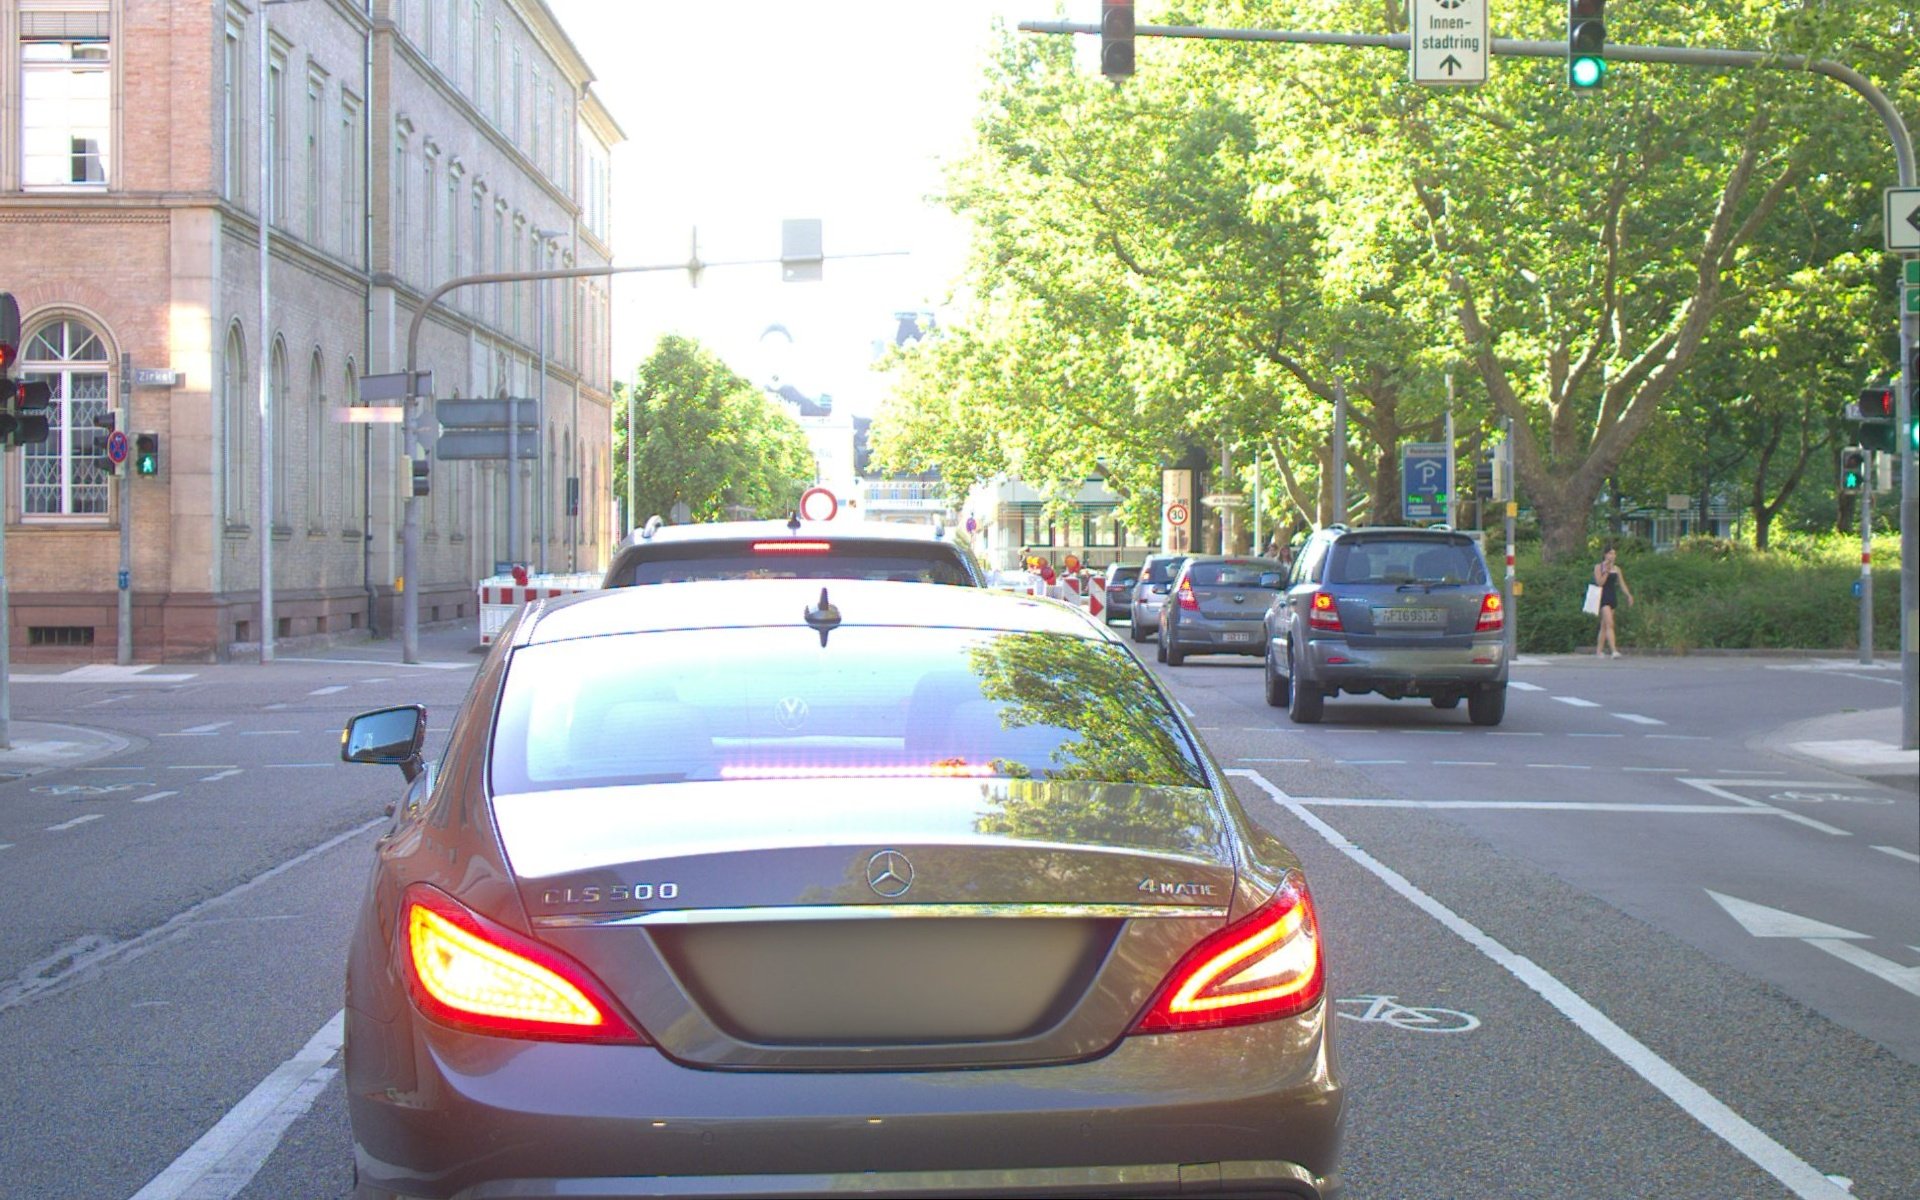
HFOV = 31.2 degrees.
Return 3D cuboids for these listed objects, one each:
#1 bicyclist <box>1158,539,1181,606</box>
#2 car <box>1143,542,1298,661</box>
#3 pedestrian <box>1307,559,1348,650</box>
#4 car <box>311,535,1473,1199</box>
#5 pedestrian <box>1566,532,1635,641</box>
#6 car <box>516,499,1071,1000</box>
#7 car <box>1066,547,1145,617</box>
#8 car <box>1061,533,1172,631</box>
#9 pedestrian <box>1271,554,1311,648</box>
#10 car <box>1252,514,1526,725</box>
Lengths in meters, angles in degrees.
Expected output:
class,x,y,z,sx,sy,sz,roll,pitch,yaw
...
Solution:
class,x,y,z,sx,sy,sz,roll,pitch,yaw
bicyclist,6.396,-0.847,105.038,0.594,2.032,0.566,1,0,-4
car,3.438,-0.011,46.003,1.704,1.514,4.000,1,1,-1
pedestrian,7.106,0.082,66.500,0.635,1.754,0.699,1,0,-4
car,-0.365,0.626,7.476,1.861,1.514,4.001,0,1,-8
pedestrian,9.184,-0.201,49.328,0.635,1.540,0.910,1,0,-14
car,-0.586,0.471,13.606,1.861,1.677,4.000,1,1,-1
car,3.313,-0.417,78.852,1.601,1.543,3.681,1,1,-1
car,2.732,-0.328,60.811,1.731,1.656,3.681,1,1,-1
pedestrian,6.403,0.019,66.503,0.635,1.791,0.699,1,0,-4
car,3.813,0.127,31.253,1.861,1.758,4.482,1,1,-1
